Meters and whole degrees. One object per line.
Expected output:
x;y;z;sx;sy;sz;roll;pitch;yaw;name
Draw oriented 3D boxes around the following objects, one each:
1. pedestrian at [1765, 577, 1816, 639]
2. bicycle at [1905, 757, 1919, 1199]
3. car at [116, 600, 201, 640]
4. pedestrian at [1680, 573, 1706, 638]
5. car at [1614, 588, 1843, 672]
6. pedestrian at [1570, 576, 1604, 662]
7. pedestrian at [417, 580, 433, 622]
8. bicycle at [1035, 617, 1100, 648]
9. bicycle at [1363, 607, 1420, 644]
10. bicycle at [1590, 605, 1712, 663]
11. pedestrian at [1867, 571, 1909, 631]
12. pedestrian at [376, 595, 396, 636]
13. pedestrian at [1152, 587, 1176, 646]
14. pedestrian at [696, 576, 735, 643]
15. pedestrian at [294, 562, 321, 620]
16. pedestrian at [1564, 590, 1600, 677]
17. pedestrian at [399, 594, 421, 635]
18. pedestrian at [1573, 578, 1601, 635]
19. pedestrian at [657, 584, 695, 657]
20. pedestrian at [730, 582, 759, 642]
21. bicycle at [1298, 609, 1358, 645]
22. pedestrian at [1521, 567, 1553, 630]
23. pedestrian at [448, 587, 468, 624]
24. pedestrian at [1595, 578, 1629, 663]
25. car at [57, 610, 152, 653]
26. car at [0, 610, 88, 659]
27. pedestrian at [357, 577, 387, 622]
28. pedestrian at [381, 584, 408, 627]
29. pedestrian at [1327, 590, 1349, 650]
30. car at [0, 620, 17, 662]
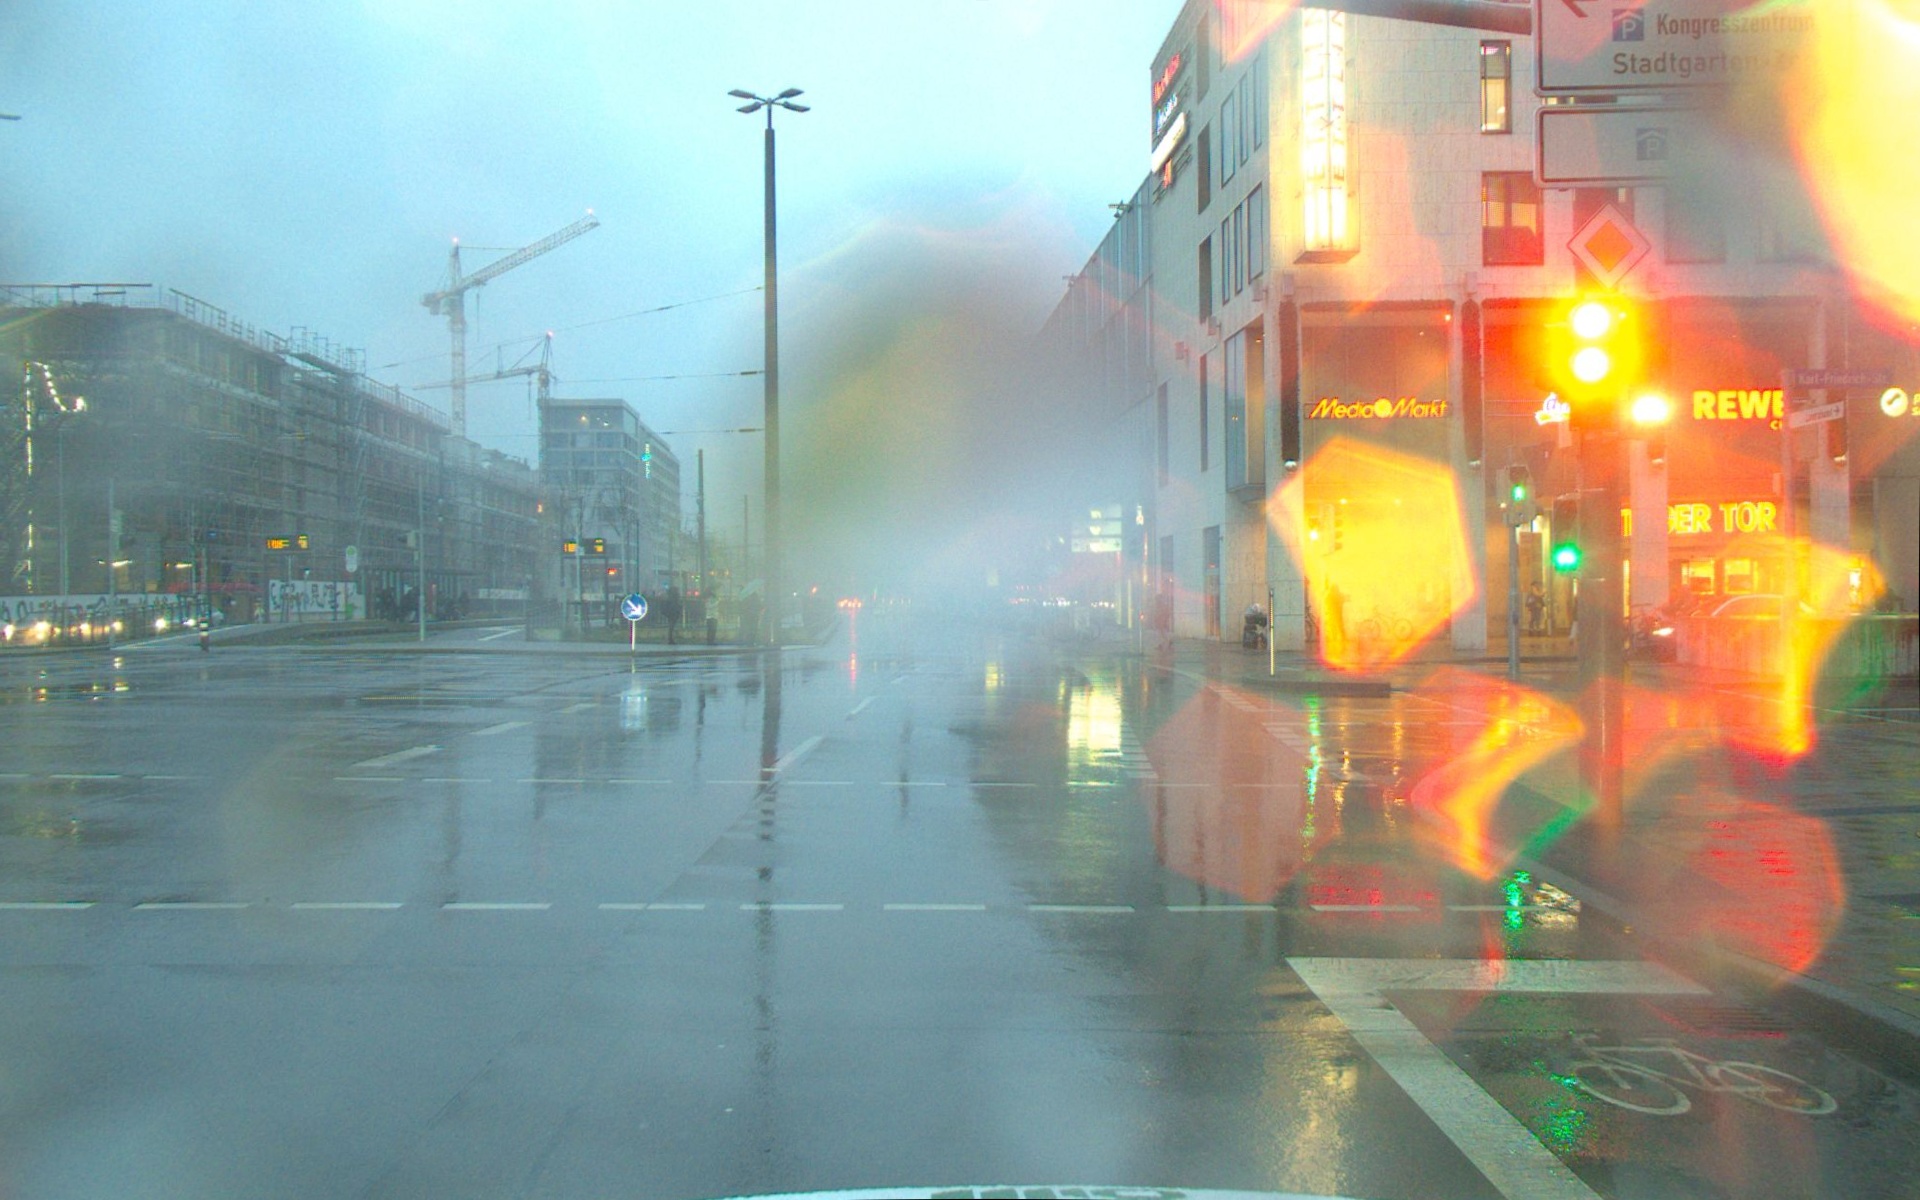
23.193;0.221;46.202;1.009;1.713;0.824;1;-1;-1;pedestrian
2.533;0.928;2.916;0.693;1.113;1.784;0;1;-1;bicycle
-37.955;0.952;78.426;1.952;1.822;4.001;1;0;2;car
20.994;0.155;47.375;0.540;1.858;0.361;-1;-1;0;pedestrian
16.158;0.623;34.936;3.905;1.646;2.000;1;0;0;car
18.515;0.558;48.864;0.675;2.484;0.758;1;-1;-1;pedestrian
-25.957;0.044;80.227;0.559;2.002;0.664;2;-1;-7;pedestrian
4.028;1.231;62.223;2.376;1.118;0.711;-1;-1;-3;bicycle
13.252;0.788;50.840;1.614;1.088;0.524;1;-1;-5;bicycle
17.195;0.842;41.184;2.659;1.383;0.957;-1;-1;-4;bicycle
26.863;0.031;47.884;0.875;1.714;0.528;-1;-1;-1;pedestrian
-26.506;0.712;76.394;0.684;1.913;0.553;1;-1;-2;pedestrian
6.013;0.480;48.799;0.624;1.739;0.573;-1;0;-2;pedestrian
-6.837;0.270;46.295;0.813;1.863;0.777;1;-1;-31;pedestrian
-26.894;-0.362;68.223;0.750;2.364;0.762;1;-2;-1;pedestrian
17.978;0.949;47.819;0.700;2.484;0.758;1;-1;-1;pedestrian
-26.144;0.696;78.592;0.750;1.931;0.762;1;-2;-1;pedestrian
19.669;0.209;51.888;0.721;1.748;0.738;-1;-1;27;pedestrian
-8.068;0.585;46.987;0.771;2.049;0.724;0;-1;41;pedestrian
-6.216;0.344;47.712;0.601;1.715;0.575;0;-1;41;pedestrian
11.277;0.823;50.680;1.734;1.088;0.523;1;-1;-9;bicycle
18.932;-0.037;54.275;0.828;2.049;0.698;-1;0;8;pedestrian
-28.114;0.309;92.632;0.925;2.049;1.091;1;-1;-11;pedestrian
19.311;0.605;48.997;0.679;2.491;0.791;1;-1;-1;pedestrian
-37.637;1.368;72.879;1.952;1.822;4.001;1;0;2;car
-37.011;1.361;66.836;1.830;1.860;3.993;1;0;-8;car
-26.833;-0.016;75.482;0.923;2.049;1.094;1;-1;0;pedestrian
-27.210;0.266;79.569;0.923;2.049;1.093;1;-1;-2;pedestrian
11.340;0.590;49.611;0.587;1.775;0.525;1;-1;7;pedestrian
-36.416;1.538;60.360;2.038;1.557;4.604;-1;0;-10;car
